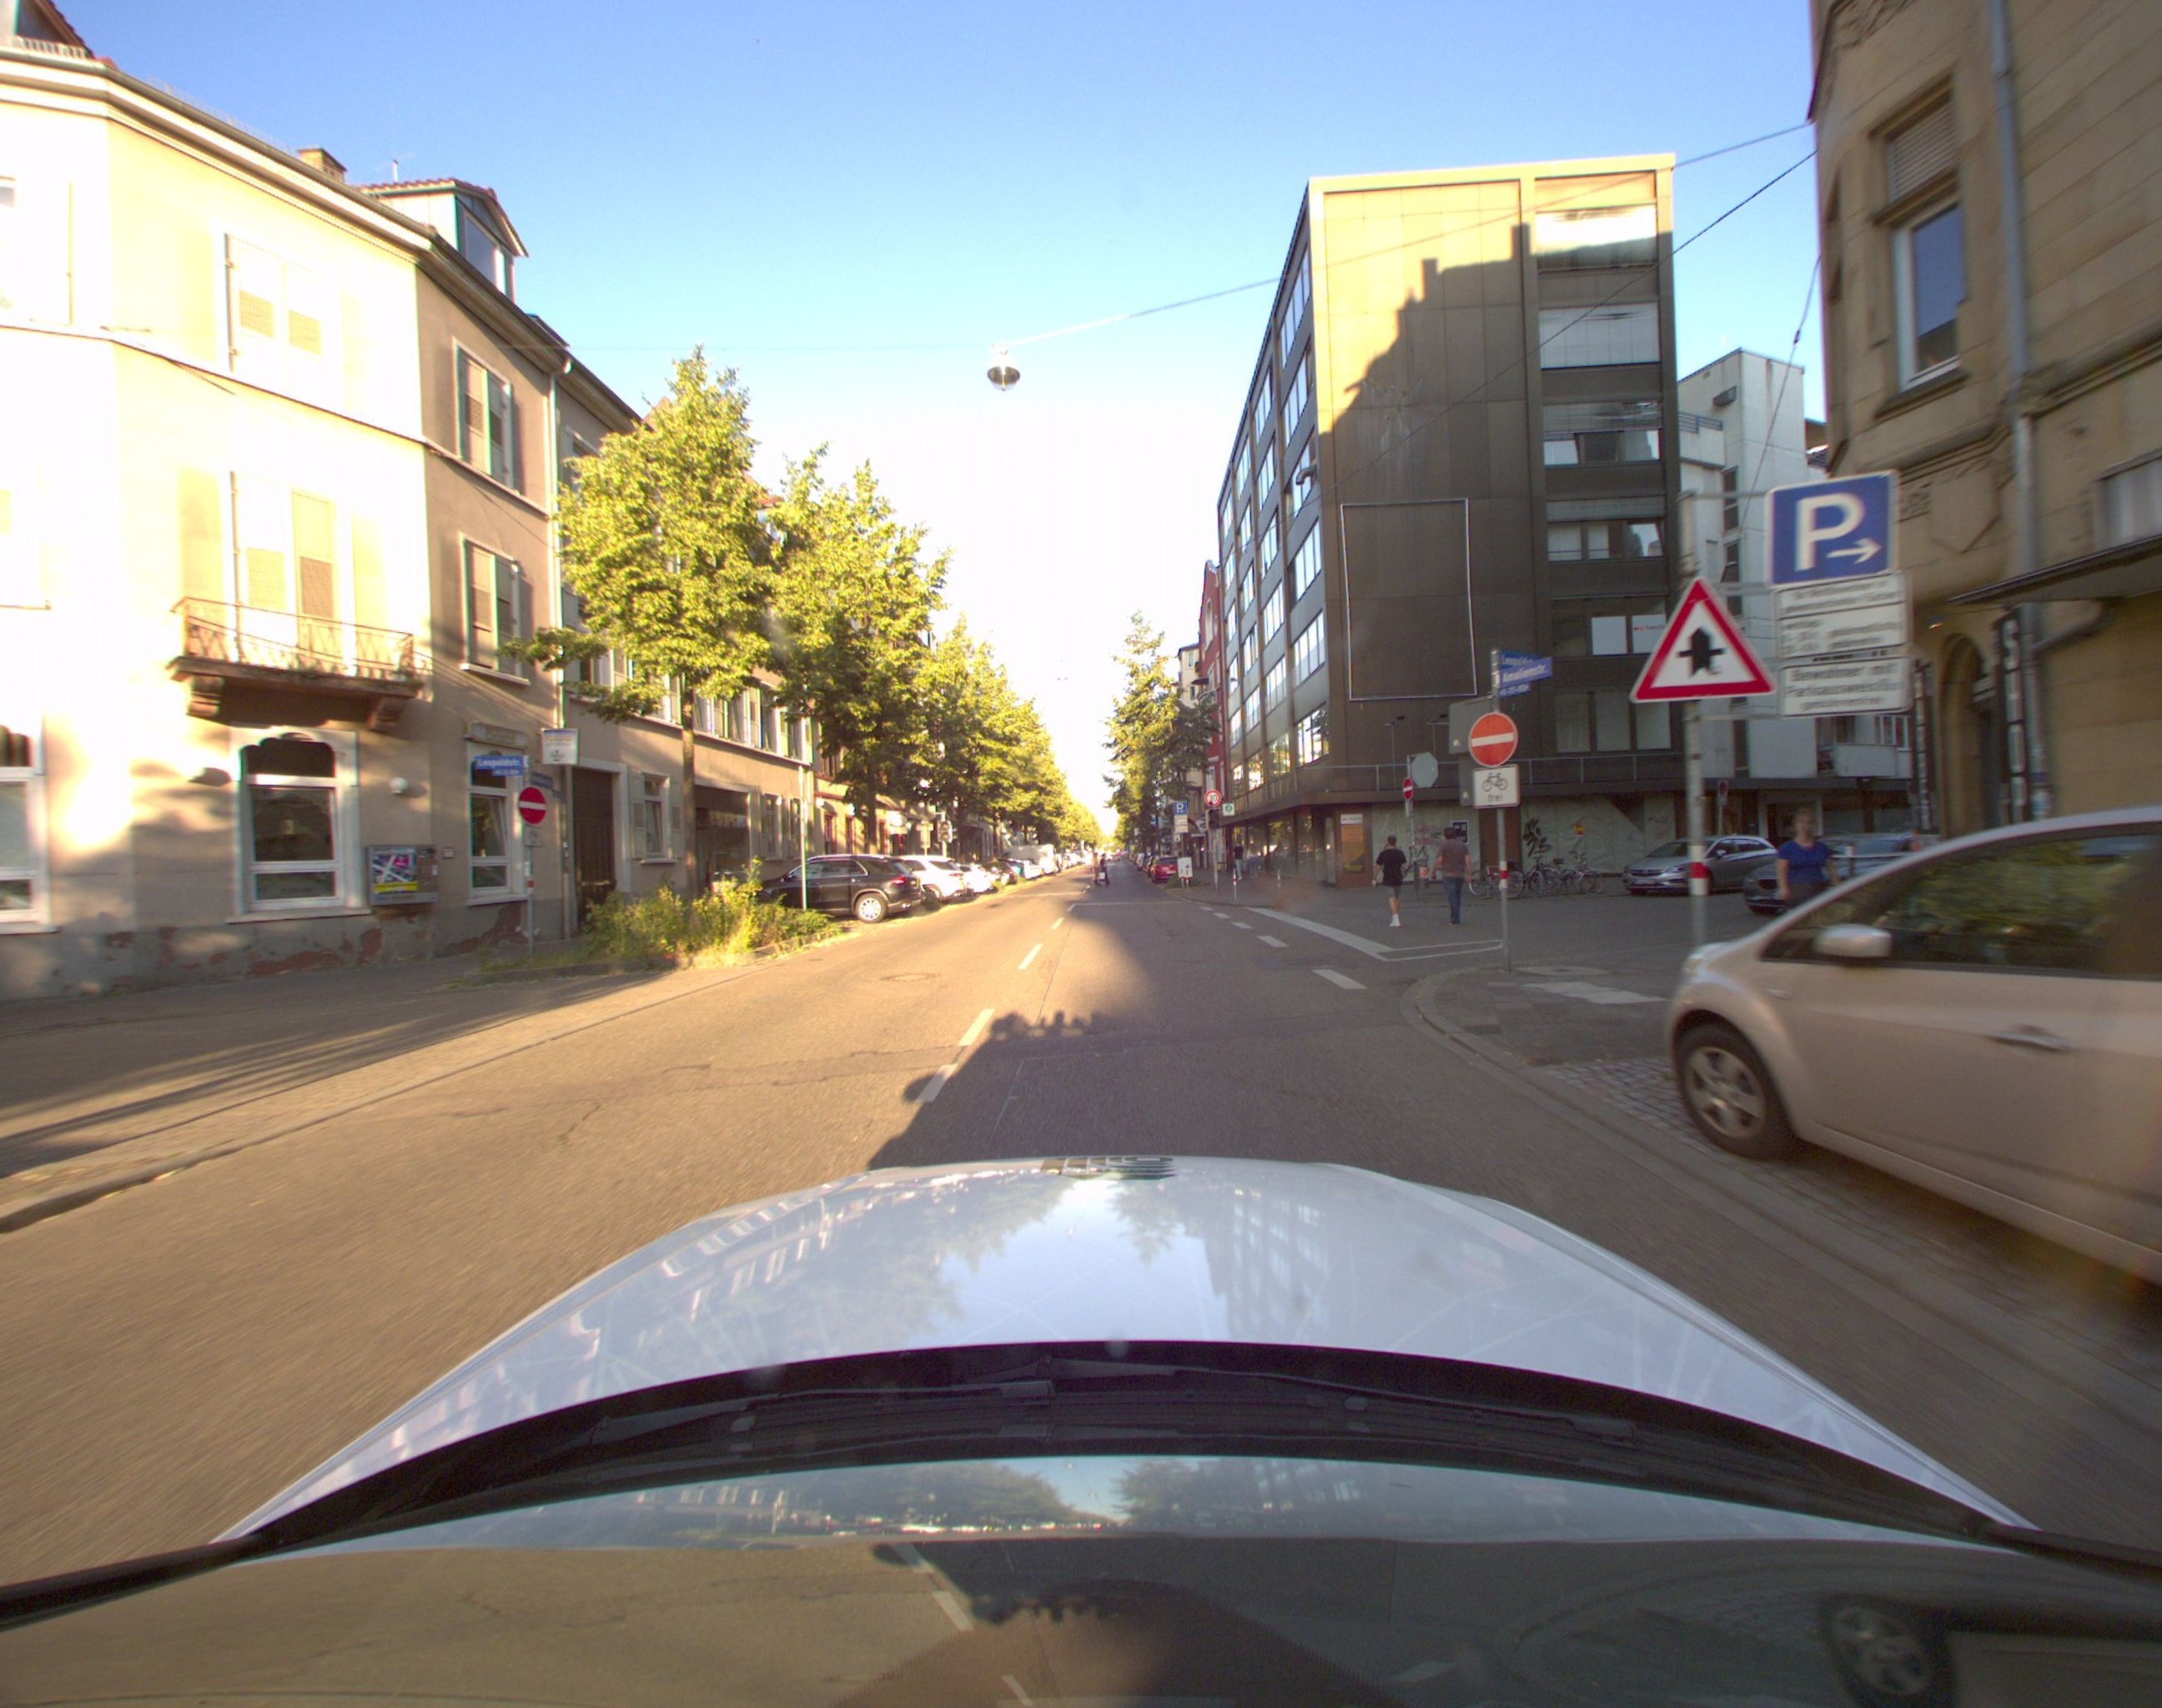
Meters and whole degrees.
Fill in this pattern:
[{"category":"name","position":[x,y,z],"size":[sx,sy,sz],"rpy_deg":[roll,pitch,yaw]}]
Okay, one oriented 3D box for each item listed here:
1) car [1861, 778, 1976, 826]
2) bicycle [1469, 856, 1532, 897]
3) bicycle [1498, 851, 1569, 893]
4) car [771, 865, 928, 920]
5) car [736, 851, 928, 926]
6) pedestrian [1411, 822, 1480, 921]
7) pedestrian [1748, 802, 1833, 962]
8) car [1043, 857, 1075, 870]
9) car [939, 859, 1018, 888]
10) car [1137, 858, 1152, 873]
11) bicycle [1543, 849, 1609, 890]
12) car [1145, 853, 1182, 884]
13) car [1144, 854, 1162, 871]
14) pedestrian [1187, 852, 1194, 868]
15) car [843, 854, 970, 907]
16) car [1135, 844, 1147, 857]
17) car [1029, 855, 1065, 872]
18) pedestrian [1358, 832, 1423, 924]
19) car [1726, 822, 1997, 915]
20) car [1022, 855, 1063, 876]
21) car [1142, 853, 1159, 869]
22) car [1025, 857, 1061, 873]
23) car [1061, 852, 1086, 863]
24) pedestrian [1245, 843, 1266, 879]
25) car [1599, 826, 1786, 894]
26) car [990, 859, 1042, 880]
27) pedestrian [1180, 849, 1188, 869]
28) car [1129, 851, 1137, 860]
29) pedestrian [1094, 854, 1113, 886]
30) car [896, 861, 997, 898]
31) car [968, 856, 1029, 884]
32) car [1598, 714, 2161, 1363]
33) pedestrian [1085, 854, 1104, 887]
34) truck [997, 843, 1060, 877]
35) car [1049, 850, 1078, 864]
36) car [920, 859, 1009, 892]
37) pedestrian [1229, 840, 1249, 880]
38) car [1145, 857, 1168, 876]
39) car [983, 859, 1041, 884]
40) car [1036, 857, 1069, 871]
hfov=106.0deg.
[{"category":"car","position":[30.179,-1.857,29.362],"size":[3.487,1.615,1.613],"rpy_deg":[-1,0,-20]},{"category":"bicycle","position":[11.076,0.575,21.554],"size":[0.415,1.030,1.681],"rpy_deg":[-3,1,-15]},{"category":"bicycle","position":[12.262,0.474,22.116],"size":[0.416,1.037,1.761],"rpy_deg":[-4,3,-24]},{"category":"car","position":[-6.705,1.092,23.872],"size":[4.017,1.443,1.832],"rpy_deg":[-1,0,1]},{"category":"car","position":[-6.540,0.875,21.787],"size":[4.432,1.835,2.034],"rpy_deg":[-1,0,1]},{"category":"pedestrian","position":[6.819,0.319,15.289],"size":[0.752,1.767,1.223],"rpy_deg":[-1,0,2]},{"category":"pedestrian","position":[7.696,0.294,8.842],"size":[0.424,1.666,0.581],"rpy_deg":[-1,0,-33]},{"category":"car","position":[-2.720,1.175,100.819],"size":[3.725,1.493,2.001],"rpy_deg":[-2,0,1]},{"category":"car","position":[-6.116,1.161,49.180],"size":[4.410,1.503,2.001],"rpy_deg":[-2,0,1]},{"category":"car","position":[5.978,1.084,76.994],"size":[1.202,1.300,2.660],"rpy_deg":[-1,-1,0]},{"category":"bicycle","position":[13.652,0.406,22.514],"size":[0.415,1.094,1.680],"rpy_deg":[-1,0,-18]},{"category":"car","position":[4.517,0.793,45.022],"size":[1.572,1.542,3.396],"rpy_deg":[-4,-1,0]},{"category":"car","position":[5.878,0.703,66.750],"size":[1.202,1.300,2.660],"rpy_deg":[-1,-1,0]},{"category":"pedestrian","position":[9.042,0.489,67.451],"size":[0.531,1.360,0.534],"rpy_deg":[-1,0,3]},{"category":"car","position":[-6.035,0.908,28.553],"size":[3.975,1.708,1.834],"rpy_deg":[-1,0,1]},{"category":"car","position":[7.560,-0.478,103.217],"size":[1.305,1.600,2.660],"rpy_deg":[-1,-1,0]},{"category":"car","position":[-3.723,1.048,89.057],"size":[3.725,1.708,2.001],"rpy_deg":[-2,0,1]},{"category":"pedestrian","position":[5.795,0.435,15.315],"size":[0.752,1.640,1.259],"rpy_deg":[-1,0,2]},{"category":"car","position":[14.487,0.208,15.108],"size":[4.692,1.488,1.914],"rpy_deg":[-1,0,-23]},{"category":"car","position":[-3.716,1.103,78.473],"size":[3.725,1.858,2.001],"rpy_deg":[-1,0,1]},{"category":"car","position":[5.935,0.579,69.883],"size":[1.202,1.300,2.660],"rpy_deg":[-1,-1,0]},{"category":"car","position":[-3.922,1.131,84.448],"size":[3.573,1.595,1.701],"rpy_deg":[-2,0,1]},{"category":"car","position":[-1.175,0.550,125.819],"size":[3.725,1.708,2.001],"rpy_deg":[-1,0,1]},{"category":"pedestrian","position":[8.373,0.330,39.203],"size":[0.762,1.689,0.786],"rpy_deg":[-3,0,0]},{"category":"car","position":[15.836,0.112,21.093],"size":[4.255,1.581,1.985],"rpy_deg":[-1,0,-23]},{"category":"car","position":[-4.890,1.172,61.648],"size":[3.725,1.449,2.001],"rpy_deg":[-2,0,1]},{"category":"pedestrian","position":[8.406,0.399,66.604],"size":[0.531,1.622,0.534],"rpy_deg":[-1,0,3]},{"category":"car","position":[9.562,0.283,149.469],"size":[1.305,1.600,2.660],"rpy_deg":[-1,-1,0]},{"category":"pedestrian","position":[1.218,0.851,44.037],"size":[0.727,1.683,0.749],"rpy_deg":[0,0,-38]},{"category":"car","position":[-5.996,1.131,36.637],"size":[4.159,1.507,2.001],"rpy_deg":[-1,0,1]},{"category":"car","position":[-5.446,1.045,53.863],"size":[3.725,1.642,2.001],"rpy_deg":[-2,0,1]},{"category":"car","position":[3.779,0.469,2.659],"size":[1.690,1.769,4.002],"rpy_deg":[-3,0,2]},{"category":"pedestrian","position":[0.714,0.862,43.111],"size":[0.720,1.673,0.702],"rpy_deg":[-1,0,-38]},{"category":"truck","position":[-4.344,0.496,68.025],"size":[4.922,2.615,2.001],"rpy_deg":[-2,-1,1]},{"category":"car","position":[-2.285,0.405,108.532],"size":[3.725,1.708,2.001],"rpy_deg":[-1,0,1]},{"category":"car","position":[-6.257,1.127,44.058],"size":[4.410,1.599,2.001],"rpy_deg":[-2,0,1]},{"category":"pedestrian","position":[7.591,0.297,39.098],"size":[0.712,1.865,0.680],"rpy_deg":[-3,0,-1]},{"category":"car","position":[5.265,0.894,56.932],"size":[1.300,1.293,3.013],"rpy_deg":[0,-1,0]},{"category":"car","position":[-4.803,1.203,56.692],"size":[3.724,1.596,2.001],"rpy_deg":[-2,0,2]},{"category":"car","position":[-3.371,1.197,96.123],"size":[3.725,1.449,2.001],"rpy_deg":[-2,0,1]}]
